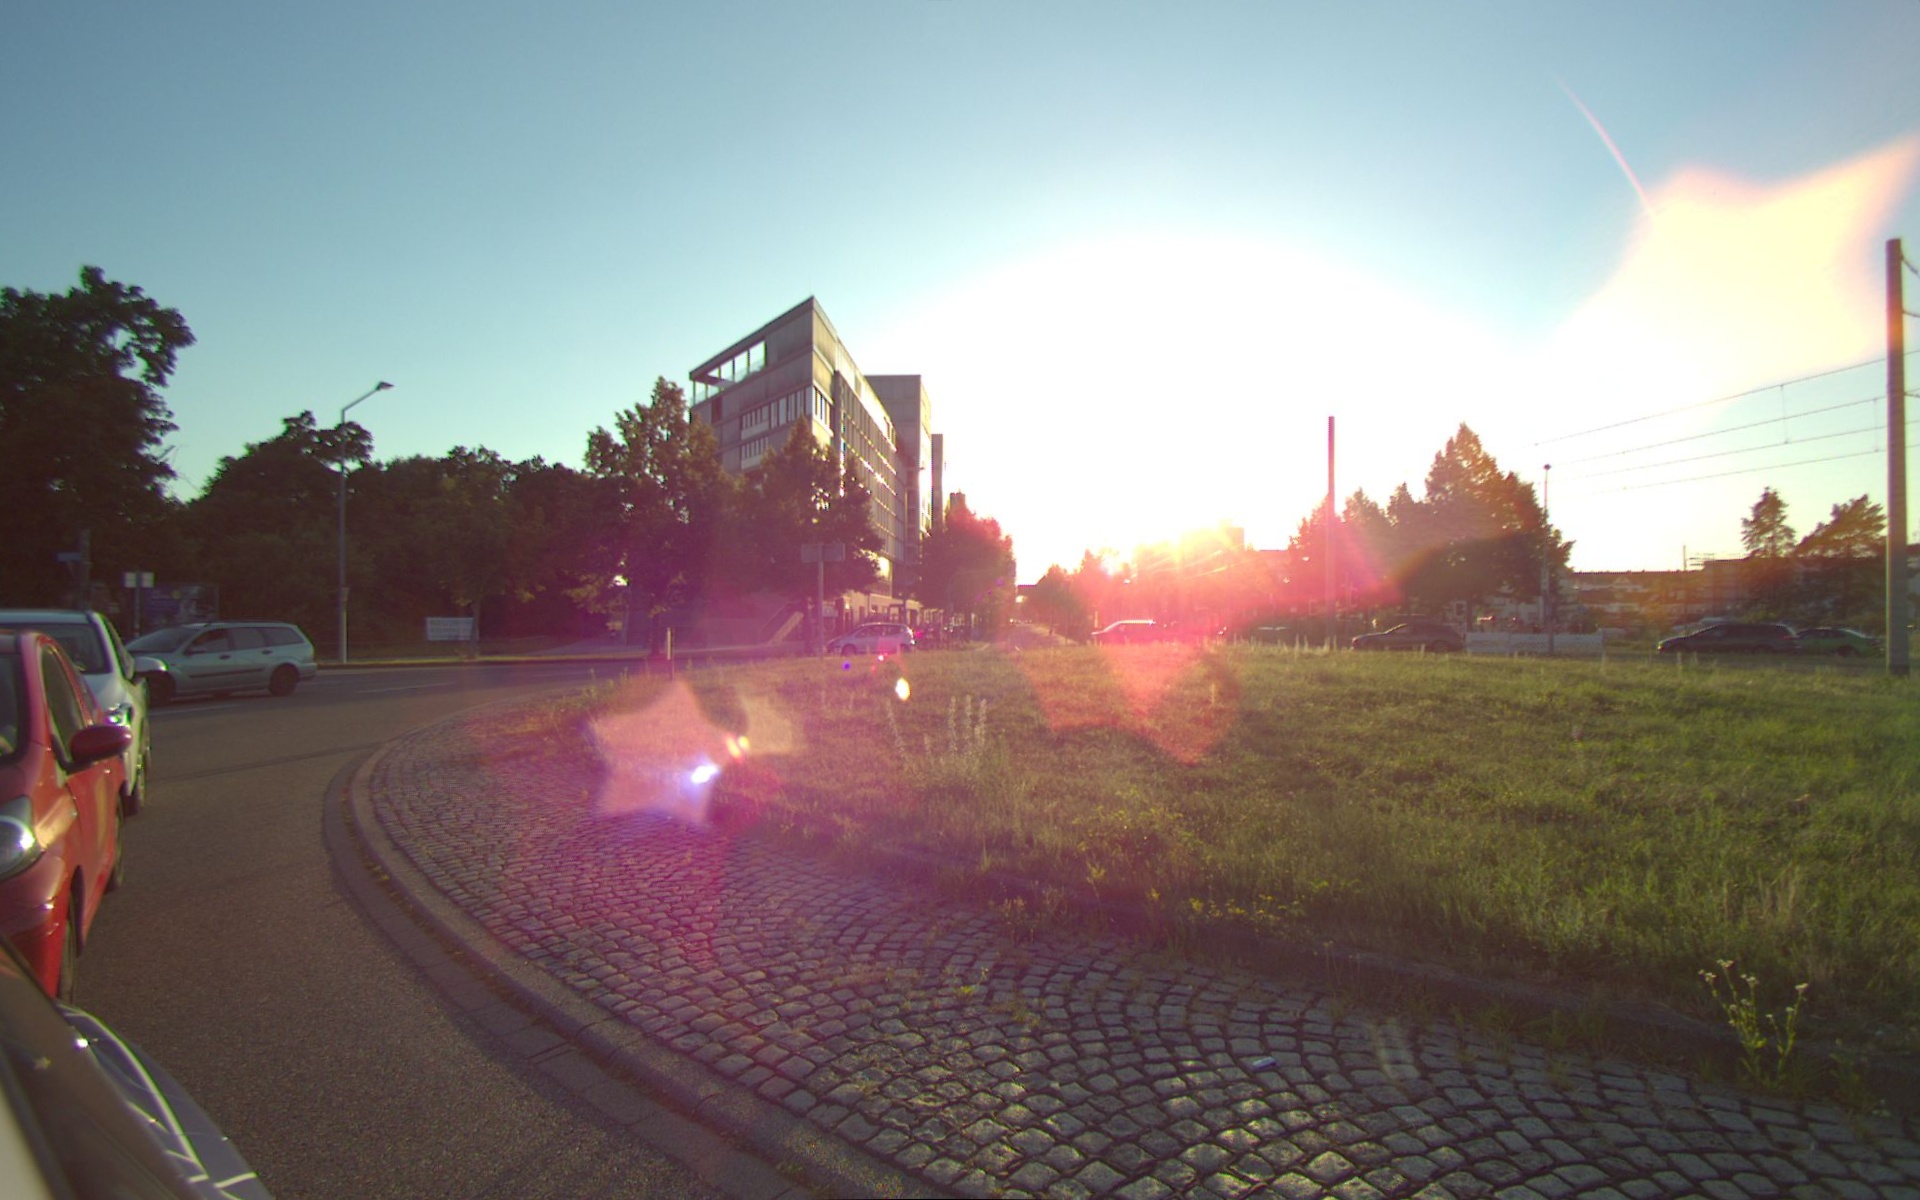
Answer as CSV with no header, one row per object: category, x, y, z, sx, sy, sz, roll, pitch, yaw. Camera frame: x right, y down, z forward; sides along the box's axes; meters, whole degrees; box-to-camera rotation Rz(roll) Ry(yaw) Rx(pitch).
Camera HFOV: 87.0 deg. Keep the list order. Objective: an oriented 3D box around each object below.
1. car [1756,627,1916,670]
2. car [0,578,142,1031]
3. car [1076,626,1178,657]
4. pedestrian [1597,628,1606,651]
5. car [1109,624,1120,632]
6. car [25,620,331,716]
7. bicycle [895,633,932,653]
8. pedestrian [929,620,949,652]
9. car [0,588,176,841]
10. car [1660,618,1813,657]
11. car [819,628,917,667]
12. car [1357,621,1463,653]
car,34.821,1.886,40.354,1.967,1.591,4.496,1,-1,-36
car,-4.759,0.677,4.414,1.662,1.431,4.009,1,-1,-36
car,7.848,1.926,47.689,4.310,1.386,2.005,0,-1,-14
pedestrian,38.493,2.366,60.741,0.397,1.317,0.423,-1,-1,41
car,37.814,6.761,247.507,1.972,1.737,4.000,-1,0,0
car,-14.486,1.179,19.158,1.813,1.571,4.552,0,-1,11
bicycle,-2.895,2.679,62.960,2.315,1.254,0.742,0,-1,0
pedestrian,-1.353,2.308,64.620,0.995,2.029,0.768,-1,0,29
car,-7.632,0.771,7.975,1.969,1.618,4.203,1,-2,-42
car,29.833,1.410,38.985,1.969,1.386,4.389,1,-2,-42
car,-4.027,2.032,44.141,3.825,1.592,1.961,0,-1,-21
car,20.432,1.671,46.079,4.327,1.386,1.983,-1,-1,25
